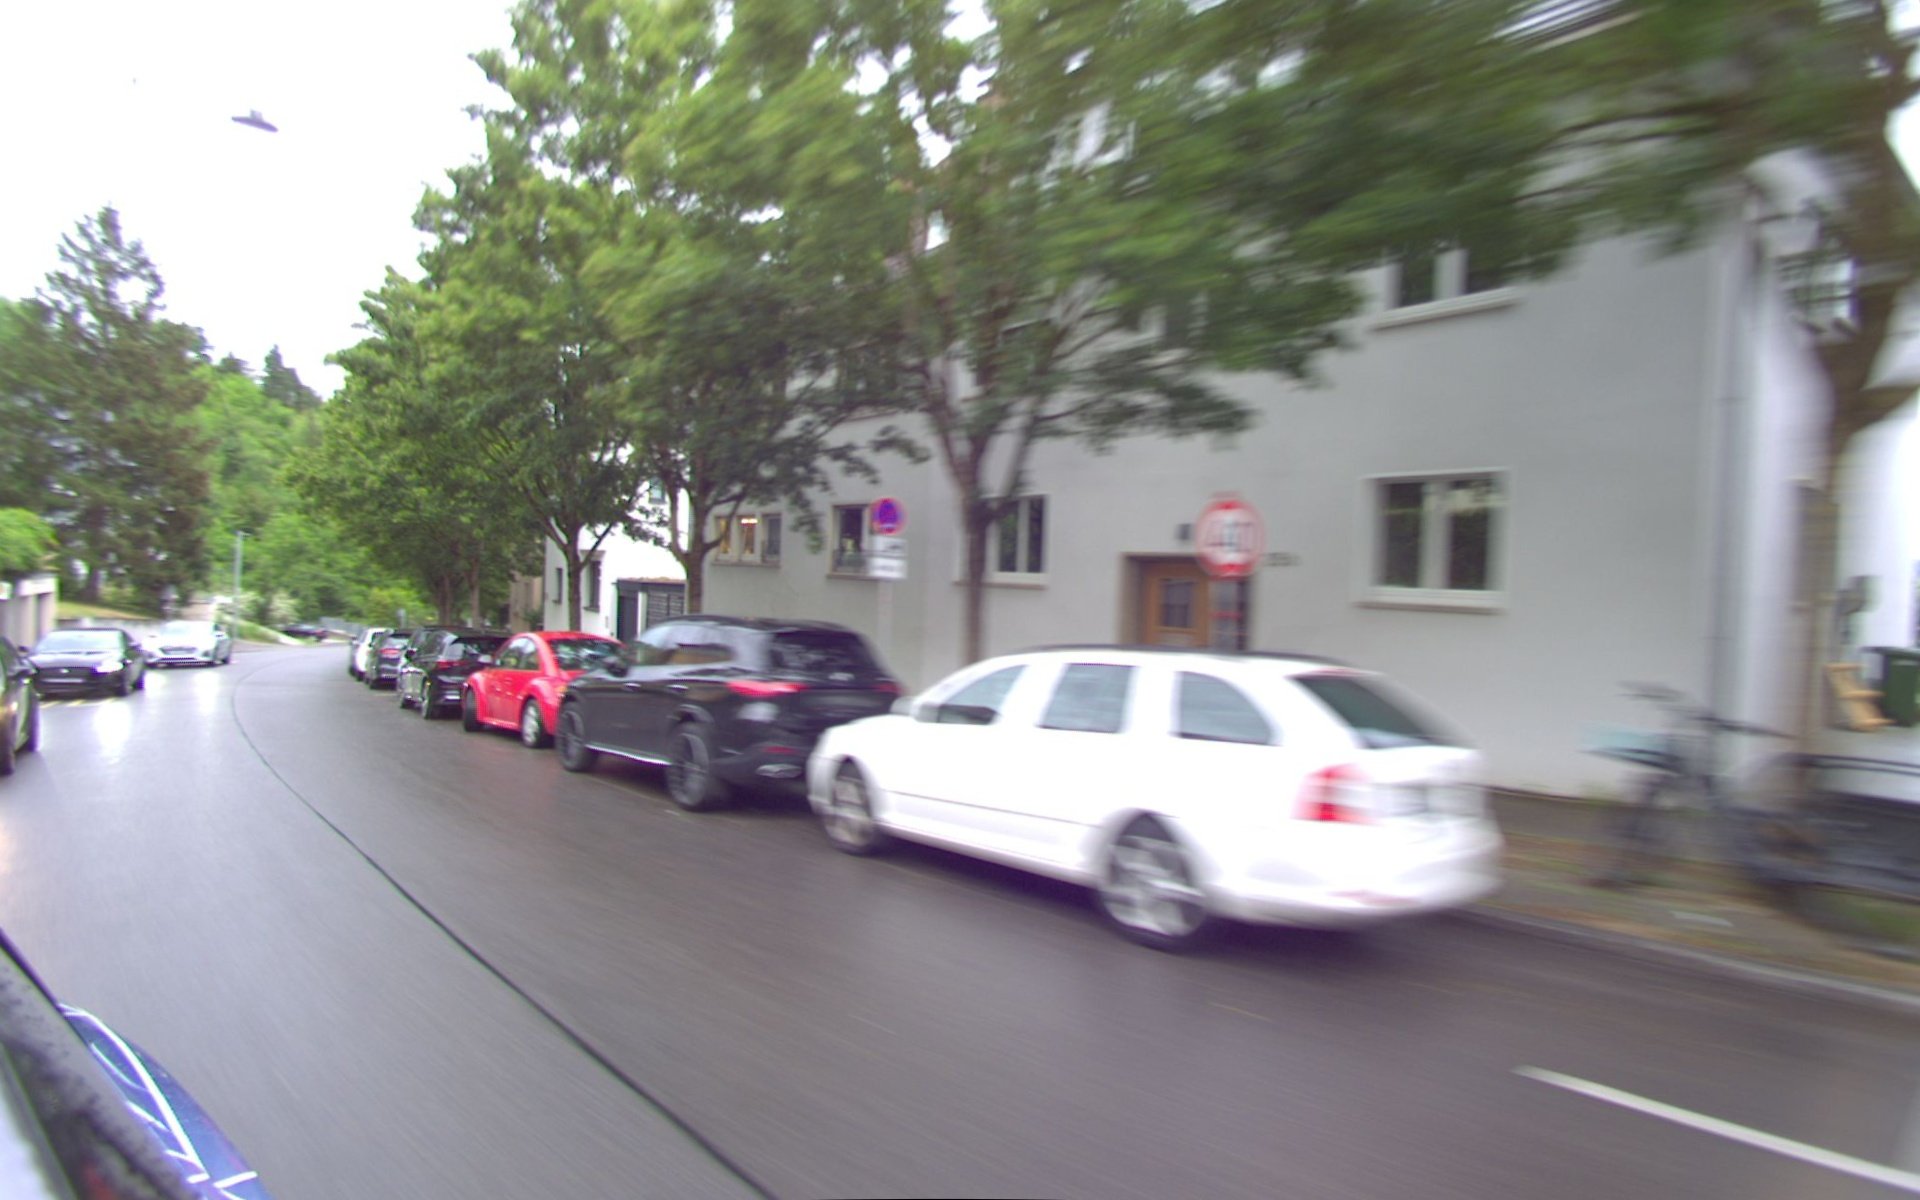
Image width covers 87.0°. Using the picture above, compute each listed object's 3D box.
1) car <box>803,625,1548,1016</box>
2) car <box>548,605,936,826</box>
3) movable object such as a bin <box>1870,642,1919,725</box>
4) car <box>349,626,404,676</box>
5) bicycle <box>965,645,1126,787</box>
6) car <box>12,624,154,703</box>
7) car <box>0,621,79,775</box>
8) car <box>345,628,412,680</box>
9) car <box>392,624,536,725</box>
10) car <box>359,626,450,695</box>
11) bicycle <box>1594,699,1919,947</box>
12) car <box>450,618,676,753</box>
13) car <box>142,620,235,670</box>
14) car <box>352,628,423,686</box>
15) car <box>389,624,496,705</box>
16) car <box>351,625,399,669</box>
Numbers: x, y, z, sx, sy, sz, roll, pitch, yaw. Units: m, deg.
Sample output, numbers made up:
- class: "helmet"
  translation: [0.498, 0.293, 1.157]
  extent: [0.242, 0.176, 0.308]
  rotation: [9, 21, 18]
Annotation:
- class: "car"
  translation: [0.912, 0.956, 6.171]
  extent: [1.660, 1.520, 4.322]
  rotation: [4, -4, -40]
- class: "car"
  translation: [-2.321, 0.944, 9.743]
  extent: [1.660, 1.621, 4.584]
  rotation: [3, -4, -40]
- class: "movable object such as a bin"
  translation: [11.360, 0.984, 12.102]
  extent: [0.634, 0.958, 0.658]
  rotation: [2, -3, -45]
- class: "car"
  translation: [-22.447, 1.928, 38.883]
  extent: [1.595, 1.671, 3.935]
  rotation: [6, -4, -31]
- class: "bicycle"
  translation: [0.804, 1.099, 10.197]
  extent: [0.610, 1.261, 1.911]
  rotation: [1, -2, -31]
- class: "car"
  translation: [-18.542, 1.305, 21.576]
  extent: [1.778, 1.500, 4.027]
  rotation: [3, -3, -35]
- class: "car"
  translation: [-10.405, 0.975, 10.236]
  extent: [1.552, 1.463, 3.598]
  rotation: [-1, 0, -30]
- class: "car"
  translation: [-18.735, 1.704, 32.540]
  extent: [1.596, 1.481, 3.983]
  rotation: [5, -4, -32]
- class: "car"
  translation: [-8.813, 1.242, 17.804]
  extent: [1.534, 1.500, 4.108]
  rotation: [6, -4, -35]
- class: "car"
  translation: [-14.093, 1.474, 25.551]
  extent: [1.641, 1.500, 4.488]
  rotation: [6, -4, -32]
- class: "bicycle"
  translation: [4.369, 1.092, 5.187]
  extent: [0.429, 1.037, 1.911]
  rotation: [1, -2, -29]
- class: "car"
  translation: [-5.674, 1.122, 14.223]
  extent: [1.613, 1.576, 3.853]
  rotation: [6, -4, -42]
- class: "car"
  translation: [-27.761, 1.606, 36.581]
  extent: [1.979, 1.674, 4.459]
  rotation: [3, -3, -29]
- class: "car"
  translation: [-16.558, 1.630, 29.194]
  extent: [1.552, 1.500, 3.479]
  rotation: [6, -5, -31]
- class: "car"
  translation: [-11.130, 1.340, 21.672]
  extent: [1.534, 1.522, 3.392]
  rotation: [6, -4, -34]
- class: "car"
  translation: [-25.272, 2.015, 43.776]
  extent: [1.570, 1.671, 3.935]
  rotation: [7, -5, -29]
